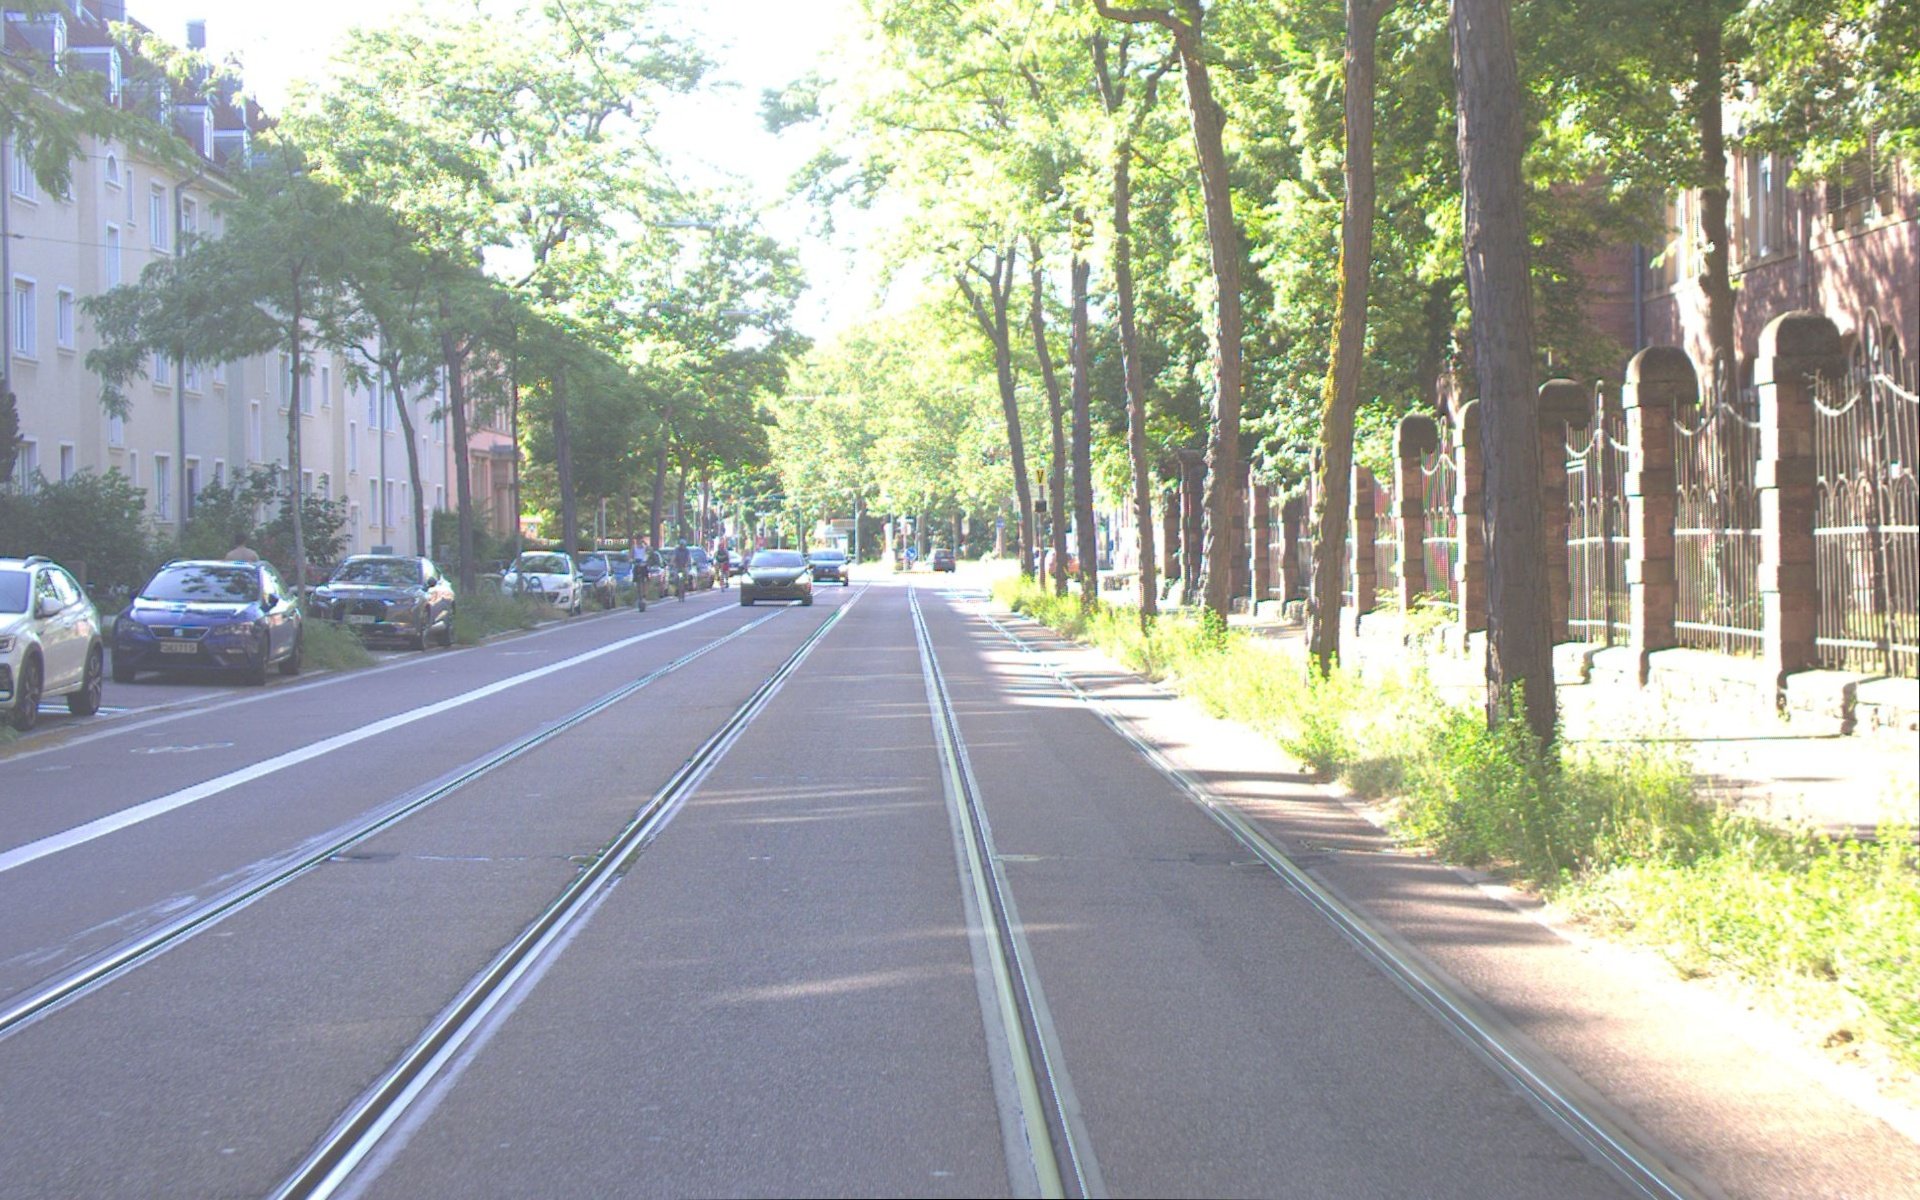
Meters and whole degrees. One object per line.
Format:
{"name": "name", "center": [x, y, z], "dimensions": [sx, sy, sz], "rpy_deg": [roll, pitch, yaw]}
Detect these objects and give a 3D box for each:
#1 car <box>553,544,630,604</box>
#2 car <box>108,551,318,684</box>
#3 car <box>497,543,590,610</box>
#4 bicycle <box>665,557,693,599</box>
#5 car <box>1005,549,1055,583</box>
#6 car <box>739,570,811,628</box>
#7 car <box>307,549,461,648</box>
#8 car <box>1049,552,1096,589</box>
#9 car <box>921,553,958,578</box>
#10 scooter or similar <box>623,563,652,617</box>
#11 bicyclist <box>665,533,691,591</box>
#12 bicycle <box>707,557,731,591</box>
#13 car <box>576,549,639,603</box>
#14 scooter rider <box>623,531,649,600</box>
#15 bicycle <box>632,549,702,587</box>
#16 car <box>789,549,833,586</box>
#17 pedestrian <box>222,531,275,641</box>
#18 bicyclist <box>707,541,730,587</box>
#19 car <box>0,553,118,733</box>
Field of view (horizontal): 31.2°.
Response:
{"name": "car", "center": [-9.603, -0.700, 89.770], "dimensions": [1.687, 1.480, 3.760], "rpy_deg": [2, 1, -2]}
{"name": "car", "center": [-9.088, 0.172, 42.150], "dimensions": [1.757, 1.506, 4.439], "rpy_deg": [1, 1, -2]}
{"name": "car", "center": [-9.804, -0.567, 81.138], "dimensions": [1.702, 1.480, 4.079], "rpy_deg": [2, 1, -1]}
{"name": "bicycle", "center": [-8.128, -0.638, 99.519], "dimensions": [0.626, 1.173, 1.913], "rpy_deg": [-3, 1, -1]}
{"name": "car", "center": [3.413, -1.687, 168.940], "dimensions": [1.942, 1.605, 4.001], "rpy_deg": [0, 1, -6]}
{"name": "car", "center": [-4.750, -0.046, 88.699], "dimensions": [1.757, 1.434, 4.524], "rpy_deg": [0, 1, -2]}
{"name": "car", "center": [-9.186, -0.052, 55.072], "dimensions": [1.817, 1.480, 4.206], "rpy_deg": [1, 1, -1]}
{"name": "car", "center": [5.153, -1.350, 157.211], "dimensions": [1.839, 1.649, 3.580], "rpy_deg": [0, 1, -3]}
{"name": "car", "center": [-1.338, -2.237, 220.573], "dimensions": [1.942, 1.605, 4.001], "rpy_deg": [0, 1, -6]}
{"name": "scooter or similar", "center": [-8.021, -0.262, 85.523], "dimensions": [0.520, 1.293, 1.377], "rpy_deg": [-4, 1, -1]}
{"name": "bicyclist", "center": [-8.155, -1.092, 99.417], "dimensions": [0.626, 1.633, 0.940], "rpy_deg": [-3, 1, -1]}
{"name": "bicycle", "center": [-8.639, -0.945, 123.303], "dimensions": [0.694, 1.173, 1.913], "rpy_deg": [-3, 1, -1]}
{"name": "car", "center": [-10.164, -0.706, 99.374], "dimensions": [1.560, 1.452, 3.931], "rpy_deg": [2, 1, -3]}
{"name": "scooter rider", "center": [-8.057, -0.862, 85.548], "dimensions": [0.496, 1.694, 0.787], "rpy_deg": [-4, 1, -1]}
{"name": "bicycle", "center": [-10.082, -1.109, 118.311], "dimensions": [2.285, 1.194, 0.559], "rpy_deg": [2, 2, 6]}
{"name": "car", "center": [-5.881, -1.308, 135.750], "dimensions": [1.699, 1.434, 4.072], "rpy_deg": [0, 1, -2]}
{"name": "pedestrian", "center": [-11.761, -0.238, 56.845], "dimensions": [0.691, 1.795, 0.813], "rpy_deg": [-1, 1, -1]}
{"name": "bicyclist", "center": [-8.658, -1.298, 123.222], "dimensions": [0.709, 1.601, 0.865], "rpy_deg": [-3, 1, -1]}
{"name": "car", "center": [-9.093, 0.330, 31.530], "dimensions": [1.817, 1.506, 4.372], "rpy_deg": [1, 1, -2]}
